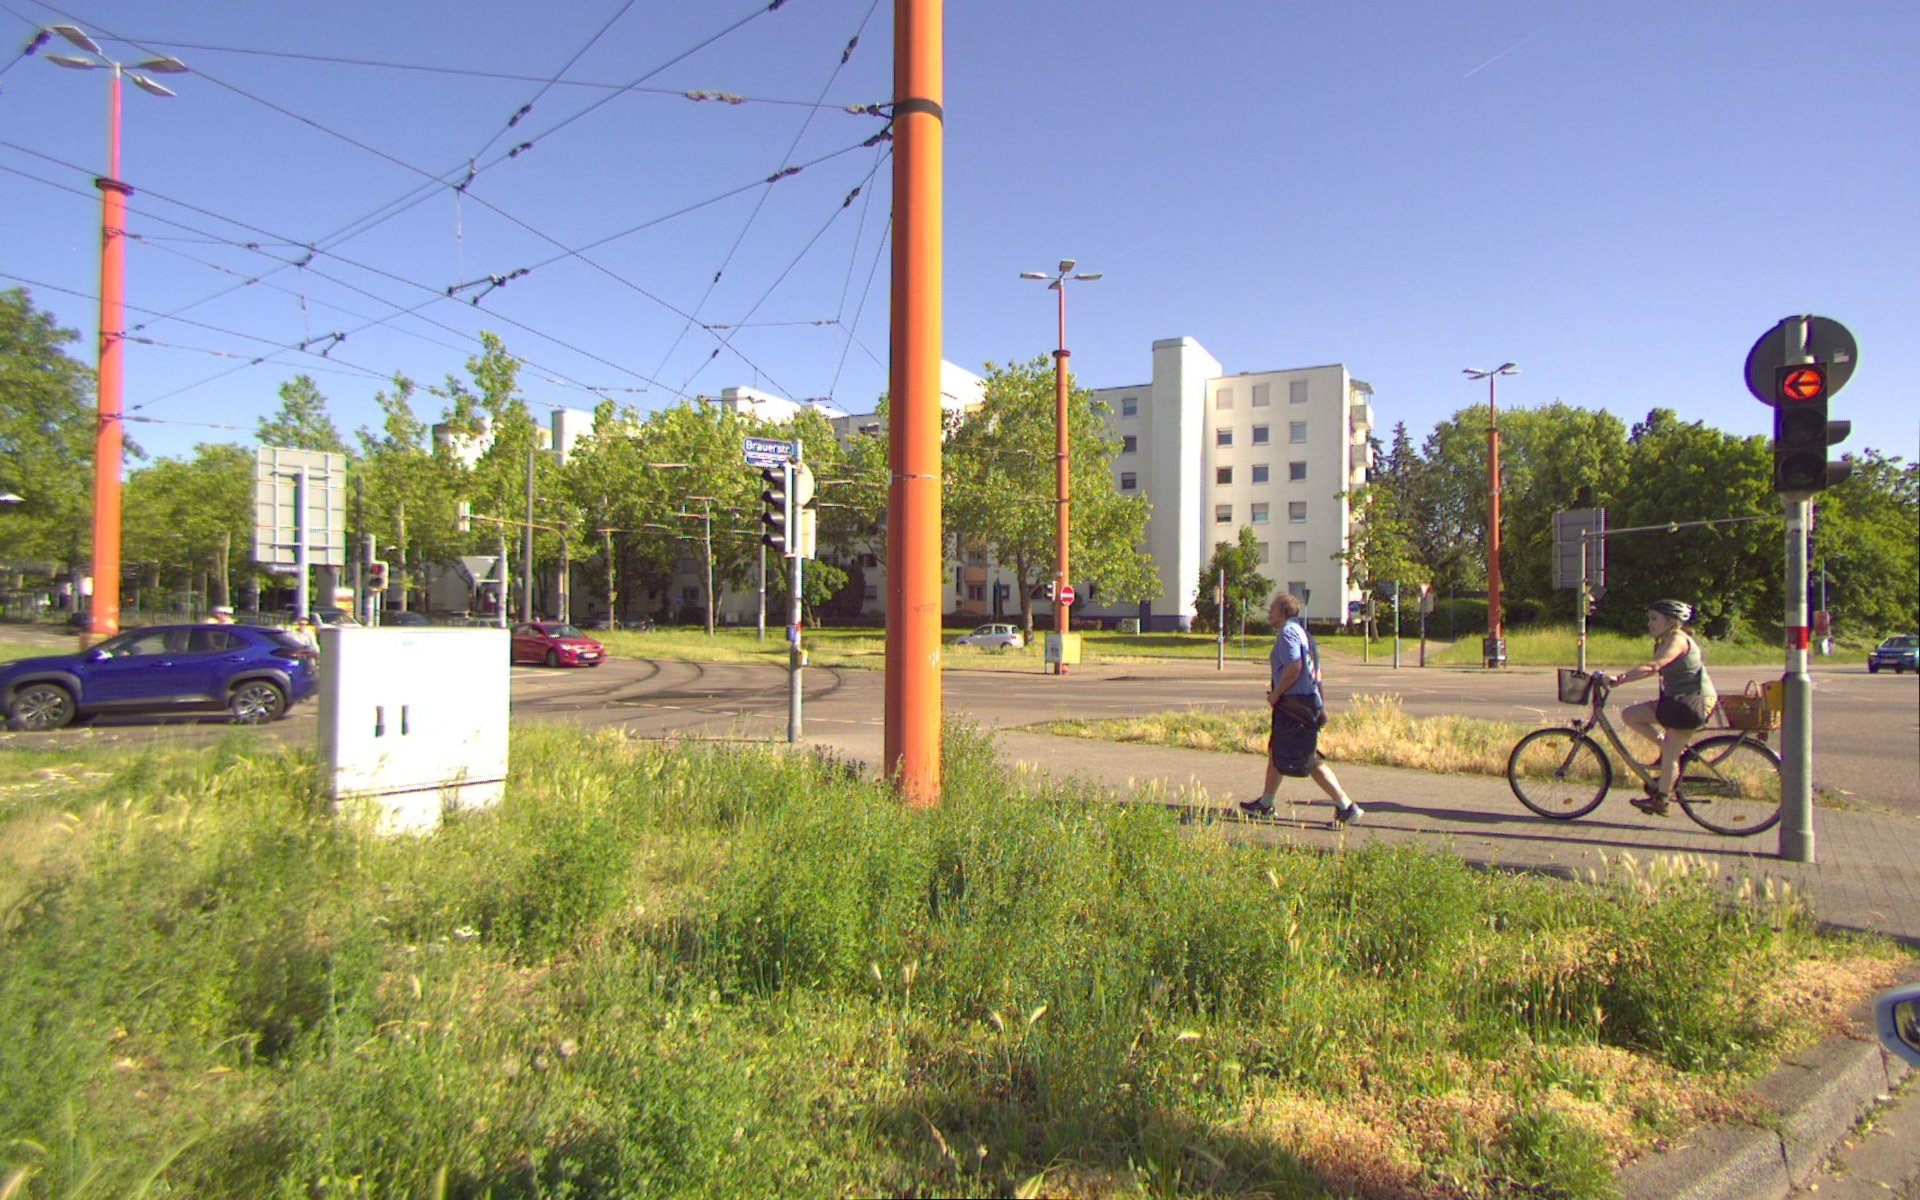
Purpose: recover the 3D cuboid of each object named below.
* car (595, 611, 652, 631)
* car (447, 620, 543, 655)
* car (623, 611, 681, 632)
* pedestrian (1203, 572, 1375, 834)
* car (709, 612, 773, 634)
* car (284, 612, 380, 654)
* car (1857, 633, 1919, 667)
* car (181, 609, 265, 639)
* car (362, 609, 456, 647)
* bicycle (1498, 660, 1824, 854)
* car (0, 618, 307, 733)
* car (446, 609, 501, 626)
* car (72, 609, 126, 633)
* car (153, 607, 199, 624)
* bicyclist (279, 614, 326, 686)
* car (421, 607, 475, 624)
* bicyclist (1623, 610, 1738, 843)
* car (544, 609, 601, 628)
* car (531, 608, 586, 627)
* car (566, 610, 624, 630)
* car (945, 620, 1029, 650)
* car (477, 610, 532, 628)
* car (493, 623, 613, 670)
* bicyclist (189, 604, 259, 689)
[{"bbox_3d":[-24.988,1.556,74.693,3.934,1.428,1.794,1,-1,-16],"label":"car"},{"bbox_3d":[-18.882,1.497,40.775,3.927,1.363,1.485,0,-1,29],"label":"car"},{"bbox_3d":[-22.248,1.547,72.643,3.934,1.428,1.794,1,-1,-16],"label":"car"},{"bbox_3d":[2.511,0.725,7.640,0.973,1.817,0.951,0,-1,38],"label":"pedestrian"},{"bbox_3d":[-14.534,1.551,66.840,1.770,1.428,3.987,0,-1,35],"label":"car"},{"bbox_3d":[-26.564,1.368,42.449,4.180,1.658,1.824,0,-1,33],"label":"car"},{"bbox_3d":[37.165,1.962,39.621,3.571,1.260,1.730,1,-1,-31],"label":"car"},{"bbox_3d":[-34.877,1.114,47.518,4.287,1.368,1.761,0,-1,32],"label":"car"},{"bbox_3d":[-24.507,1.225,44.650,4.188,1.566,1.854,0,-1,32],"label":"car"},{"bbox_3d":[5.123,1.089,7.489,1.915,1.210,0.690,0,-1,33],"label":"bicycle"},{"bbox_3d":[-12.690,1.102,15.657,4.058,1.595,1.984,1,-1,-30],"label":"car"},{"bbox_3d":[-41.427,1.485,85.622,3.935,1.428,1.794,1,-1,-17],"label":"car"},{"bbox_3d":[-51.281,1.259,59.802,4.296,1.368,1.758,0,-1,40],"label":"car"},{"bbox_3d":[-94.001,1.880,120.465,1.969,2.040,3.984,0,-1,38],"label":"car"},{"bbox_3d":[-13.085,0.989,20.011,0.616,1.399,0.443,1,-1,-1],"label":"bicyclist"},{"bbox_3d":[-44.782,1.387,87.892,3.935,1.428,1.794,1,-1,-17],"label":"car"},{"bbox_3d":[5.277,0.884,7.394,0.651,1.605,0.671,0,-1,33],"label":"bicyclist"},{"bbox_3d":[-30.069,1.418,78.072,3.934,1.428,1.794,1,-1,-16],"label":"car"},{"bbox_3d":[-31.930,1.369,79.969,3.935,1.428,1.794,1,-1,-17],"label":"car"},{"bbox_3d":[-27.570,1.486,75.917,3.934,1.428,1.794,1,-1,-16],"label":"car"},{"bbox_3d":[1.366,1.764,51.266,3.922,1.416,1.756,0,-1,22],"label":"car"},{"bbox_3d":[-38.024,1.567,83.881,3.935,1.428,1.794,1,-1,-17],"label":"car"},{"bbox_3d":[-13.731,1.525,33.855,3.993,1.454,1.682,0,-1,31],"label":"car"},{"bbox_3d":[-13.879,0.867,18.960,0.752,1.565,0.732,1,-1,-1],"label":"bicyclist"}]
